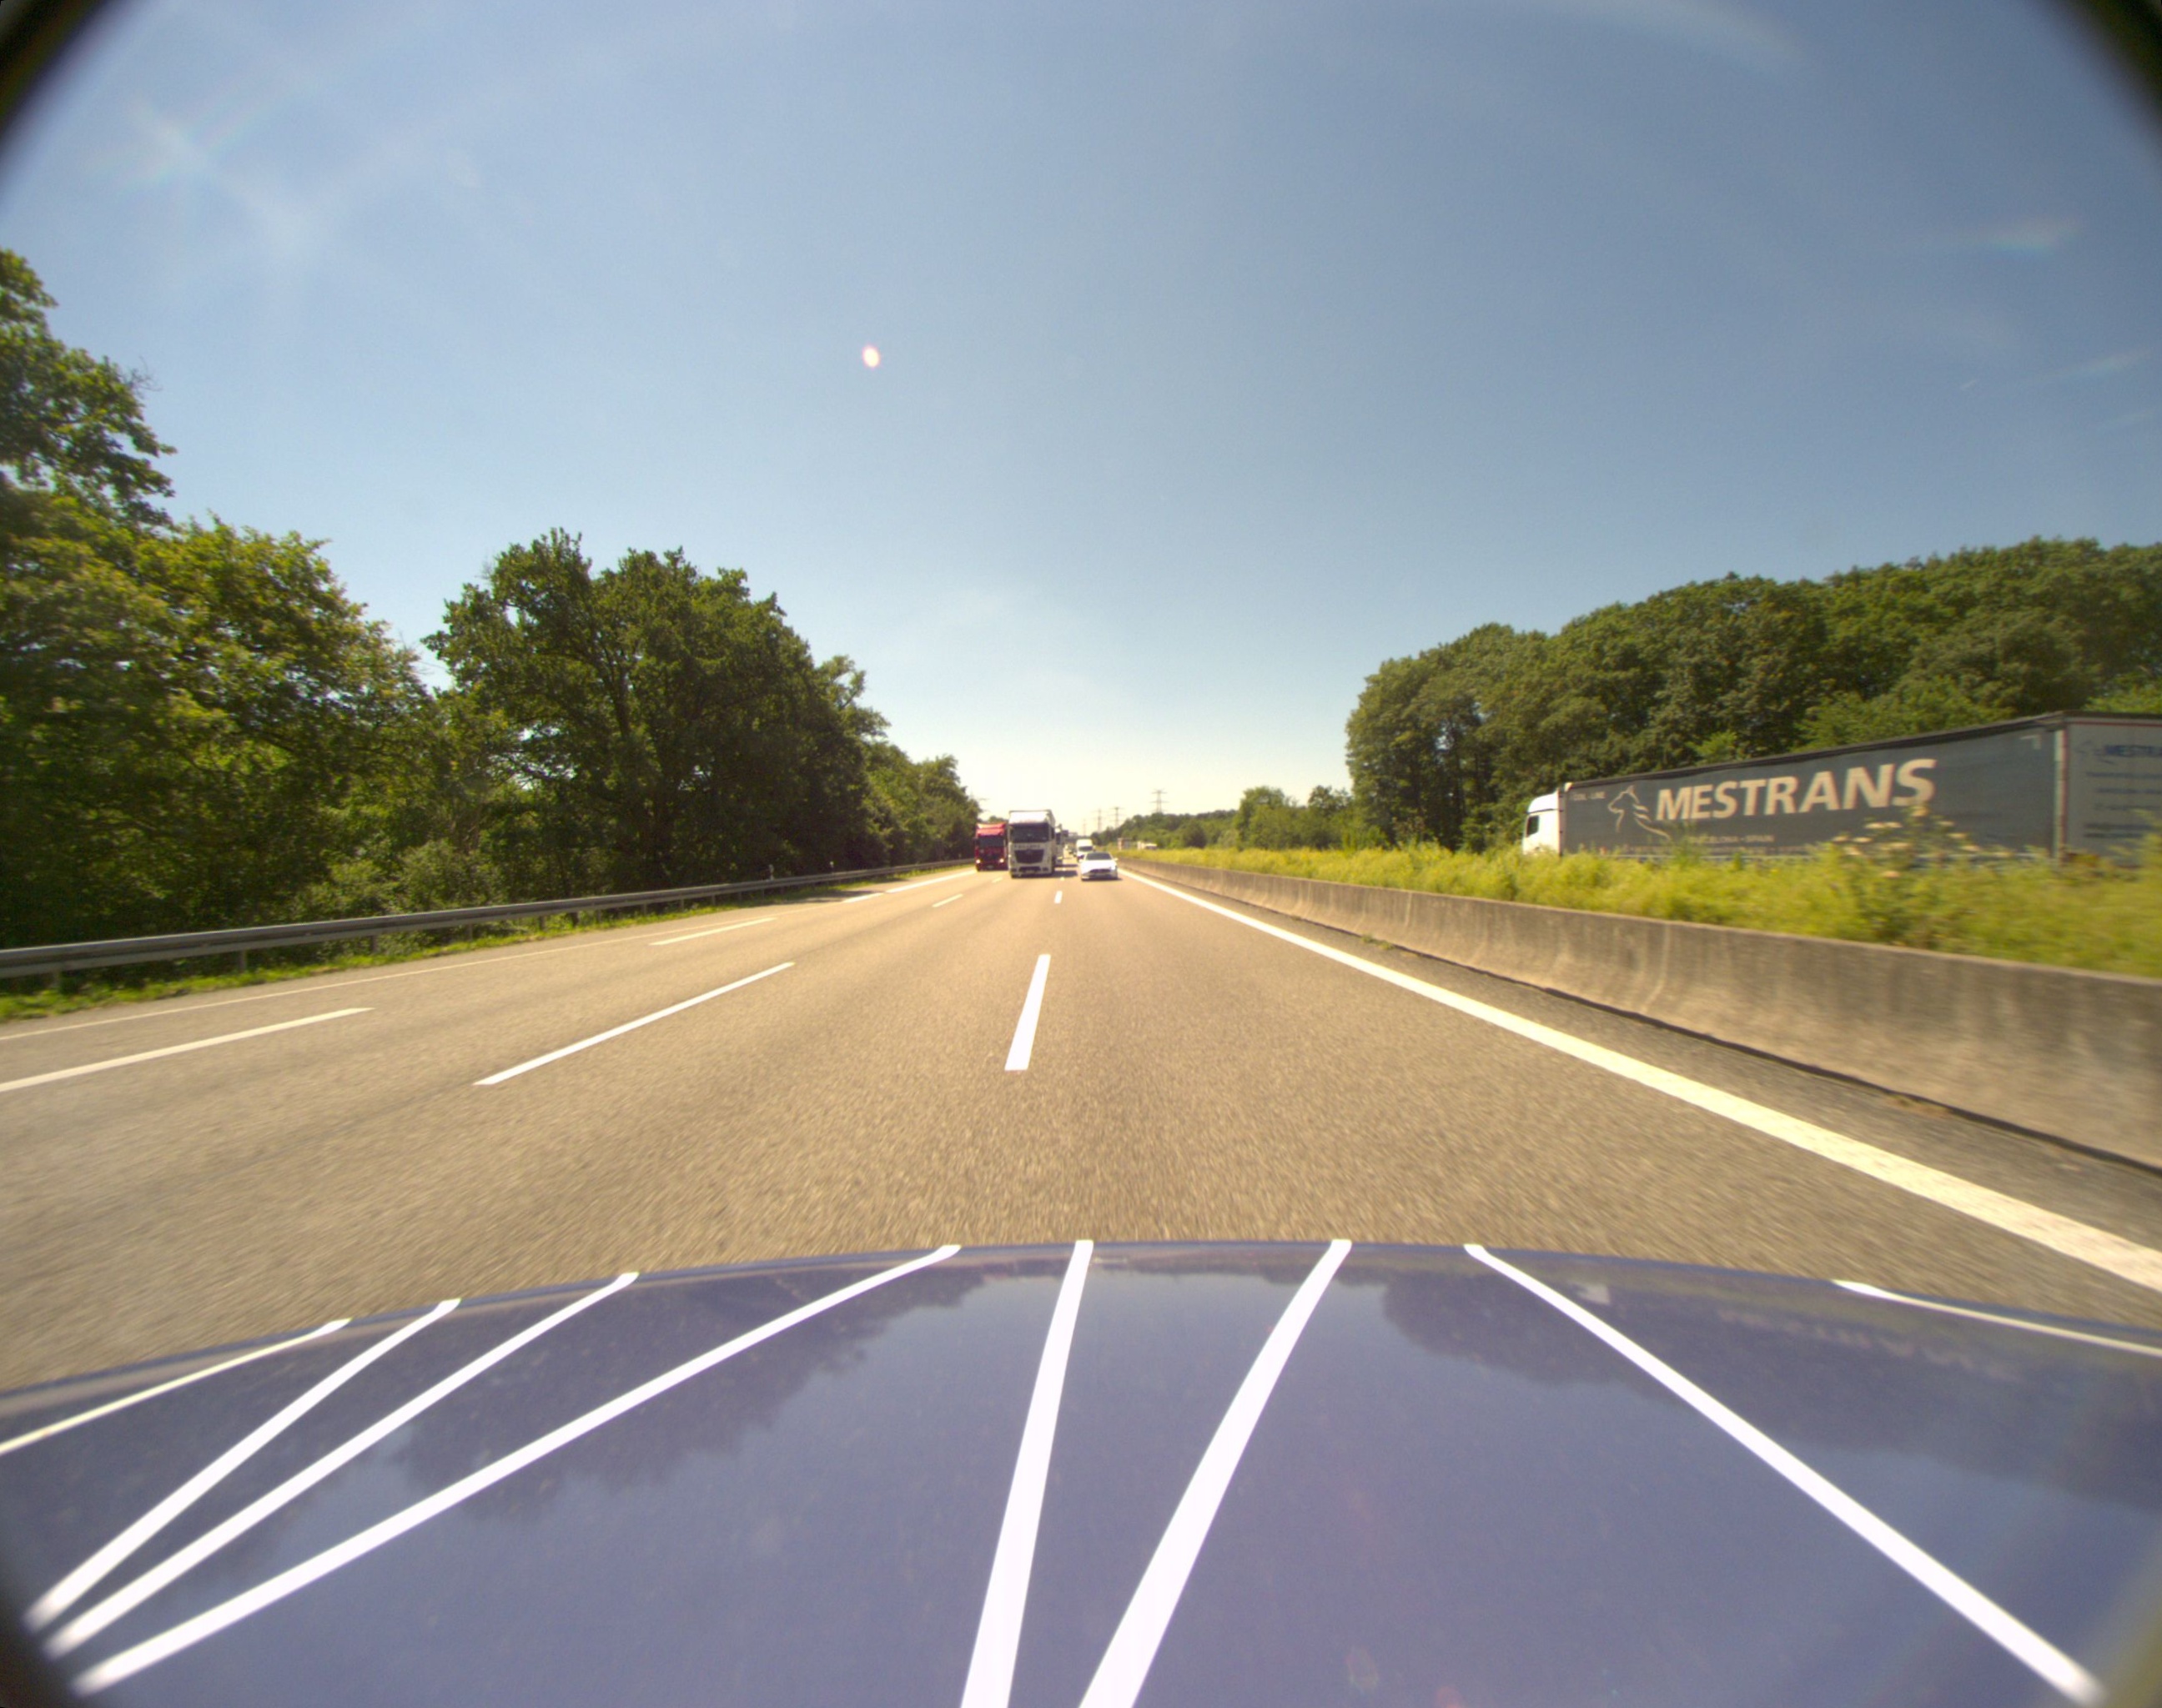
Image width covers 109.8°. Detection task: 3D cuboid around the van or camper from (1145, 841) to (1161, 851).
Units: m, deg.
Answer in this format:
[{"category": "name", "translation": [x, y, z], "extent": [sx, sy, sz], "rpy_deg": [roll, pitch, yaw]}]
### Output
[{"category": "van or camper", "translation": [14.116, -1.595, 149.530], "extent": [2.227, 2.002, 5.885], "rpy_deg": [-2, 1, -2]}]

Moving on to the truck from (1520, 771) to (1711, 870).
[{"category": "truck", "translation": [18.774, -1.092, 27.203], "extent": [2.649, 3.066, 5.847], "rpy_deg": [-2, 1, -1]}]

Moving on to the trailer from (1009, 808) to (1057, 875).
[{"category": "trailer", "translation": [-3.208, -0.981, 54.214], "extent": [2.715, 4.045, 14.739], "rpy_deg": [-2, 2, -1]}]

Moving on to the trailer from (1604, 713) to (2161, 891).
[{"category": "trailer", "translation": [18.845, -1.002, 19.371], "extent": [2.608, 3.084, 11.951], "rpy_deg": [-2, 1, -1]}]

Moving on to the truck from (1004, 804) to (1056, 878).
[{"category": "truck", "translation": [-2.997, -0.794, 46.081], "extent": [2.707, 4.071, 6.450], "rpy_deg": [-2, 2, -1]}]

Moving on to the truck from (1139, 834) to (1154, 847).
[{"category": "truck", "translation": [16.587, -3.380, 192.044], "extent": [2.694, 2.925, 10.483], "rpy_deg": [-1, 1, -1]}]

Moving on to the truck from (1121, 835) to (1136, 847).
[{"category": "truck", "translation": [9.600, -2.691, 153.402], "extent": [2.317, 2.313, 6.077], "rpy_deg": [-2, 1, -3]}]

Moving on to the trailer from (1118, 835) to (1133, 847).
[{"category": "trailer", "translation": [11.493, -3.383, 197.776], "extent": [2.649, 2.952, 14.228], "rpy_deg": [-1, 1, -2]}]

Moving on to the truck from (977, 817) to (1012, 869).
[{"category": "truck", "translation": [-7.331, -0.923, 64.898], "extent": [2.335, 4.206, 4.672], "rpy_deg": [-2, 1, -1]}]

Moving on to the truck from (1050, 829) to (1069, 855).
[{"category": "truck", "translation": [-3.539, -1.953, 124.292], "extent": [2.949, 3.963, 6.098], "rpy_deg": [-2, 1, -3]}]

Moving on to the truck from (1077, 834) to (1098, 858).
[{"category": "truck", "translation": [0.789, -0.973, 93.889], "extent": [2.192, 2.842, 5.501], "rpy_deg": [-2, 1, -3]}]

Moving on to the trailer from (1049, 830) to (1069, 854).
[{"category": "trailer", "translation": [-3.961, -2.122, 132.963], "extent": [2.946, 3.995, 16.192], "rpy_deg": [-2, 1, -3]}]

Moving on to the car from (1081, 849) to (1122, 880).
[{"category": "car", "translation": [0.994, 0.498, 39.128], "extent": [1.788, 1.462, 3.998], "rpy_deg": [-1, 1, -3]}]

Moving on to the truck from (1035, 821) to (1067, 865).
[{"category": "truck", "translation": [-2.834, -1.046, 71.790], "extent": [2.807, 3.984, 6.018], "rpy_deg": [-2, 1, -2]}]
